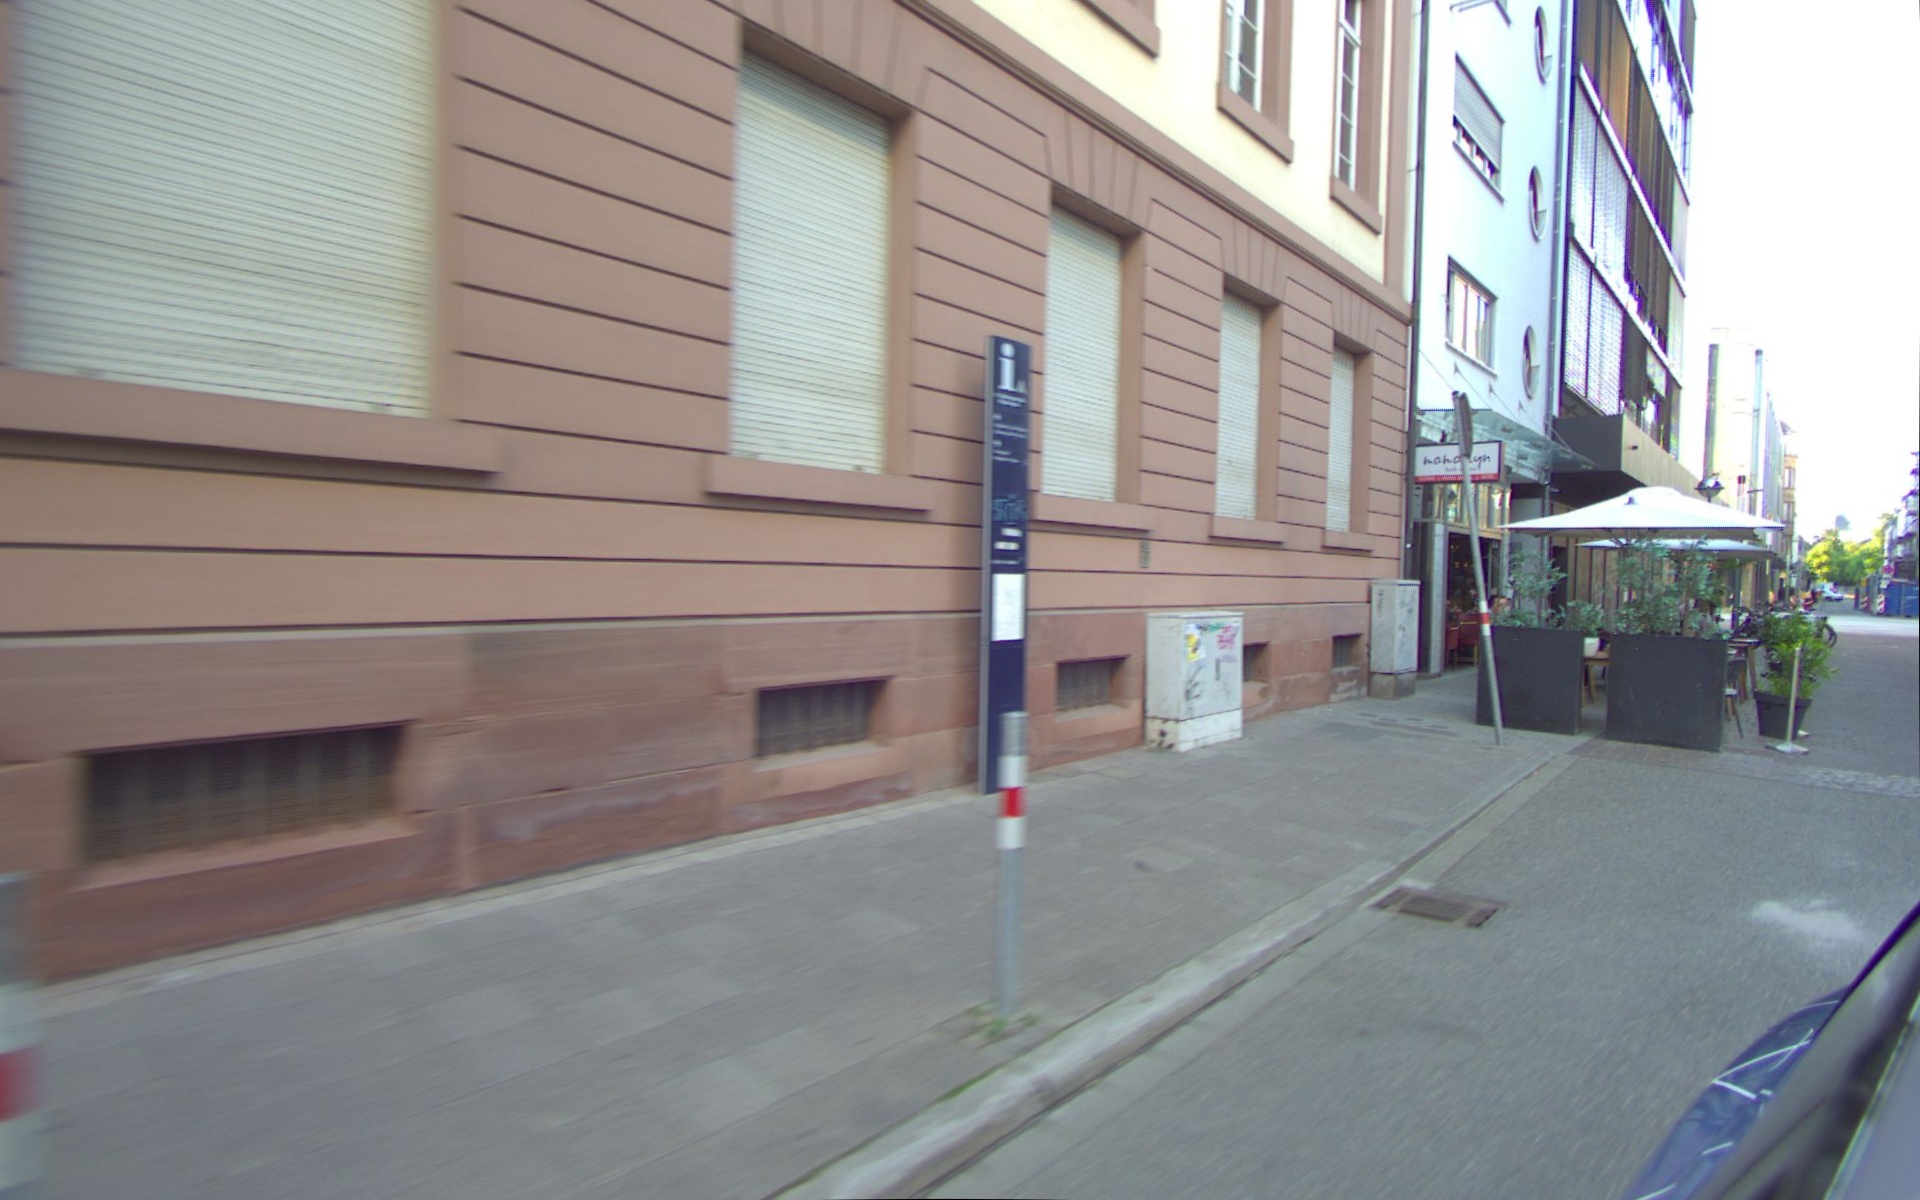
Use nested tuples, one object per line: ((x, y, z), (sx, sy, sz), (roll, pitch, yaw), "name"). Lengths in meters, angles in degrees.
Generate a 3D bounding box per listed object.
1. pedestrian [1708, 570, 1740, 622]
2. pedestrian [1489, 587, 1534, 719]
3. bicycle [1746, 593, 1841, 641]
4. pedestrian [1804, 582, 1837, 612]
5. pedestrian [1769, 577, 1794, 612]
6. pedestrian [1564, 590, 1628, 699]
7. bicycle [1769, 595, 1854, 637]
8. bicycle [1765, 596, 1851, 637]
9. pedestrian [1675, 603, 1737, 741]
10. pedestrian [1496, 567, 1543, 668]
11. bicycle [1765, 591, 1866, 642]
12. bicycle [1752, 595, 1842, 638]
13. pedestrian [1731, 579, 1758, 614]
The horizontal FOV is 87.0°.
((27.921, -0.148, 36.987), (0.802, 1.859, 0.665), (2, 2, 43), "pedestrian")
((5.745, 0.531, 10.552), (0.359, 1.322, 0.490), (2, 1, 27), "pedestrian")
((24.195, 0.473, 29.398), (2.033, 1.181, 0.610), (7, 5, 41), "bicycle")
((47.395, -0.155, 55.743), (0.973, 1.592, 0.921), (1, 1, -5), "pedestrian")
((39.675, -0.294, 48.885), (0.656, 1.658, 0.765), (-1, 3, -38), "pedestrian")
((8.835, 0.590, 14.056), (0.574, 1.437, 0.855), (2, 2, 42), "pedestrian")
((27.419, 0.494, 32.620), (2.032, 1.231, 0.610), (3, 2, 41), "bicycle")
((26.705, 0.503, 31.900), (2.032, 1.182, 0.610), (3, 2, 41), "bicycle")
((6.945, 0.656, 9.433), (0.397, 1.228, 0.379), (2, 1, 32), "pedestrian")
((10.230, 0.298, 18.493), (0.637, 1.794, 0.594), (2, 2, 37), "pedestrian")
((23.491, 0.425, 27.826), (2.033, 1.181, 0.656), (6, 5, 41), "bicycle")
((24.921, 0.481, 30.158), (2.032, 1.182, 0.610), (3, 2, 41), "bicycle")
((37.676, -0.187, 48.610), (0.623, 1.641, 0.784), (1, 2, -7), "pedestrian")
